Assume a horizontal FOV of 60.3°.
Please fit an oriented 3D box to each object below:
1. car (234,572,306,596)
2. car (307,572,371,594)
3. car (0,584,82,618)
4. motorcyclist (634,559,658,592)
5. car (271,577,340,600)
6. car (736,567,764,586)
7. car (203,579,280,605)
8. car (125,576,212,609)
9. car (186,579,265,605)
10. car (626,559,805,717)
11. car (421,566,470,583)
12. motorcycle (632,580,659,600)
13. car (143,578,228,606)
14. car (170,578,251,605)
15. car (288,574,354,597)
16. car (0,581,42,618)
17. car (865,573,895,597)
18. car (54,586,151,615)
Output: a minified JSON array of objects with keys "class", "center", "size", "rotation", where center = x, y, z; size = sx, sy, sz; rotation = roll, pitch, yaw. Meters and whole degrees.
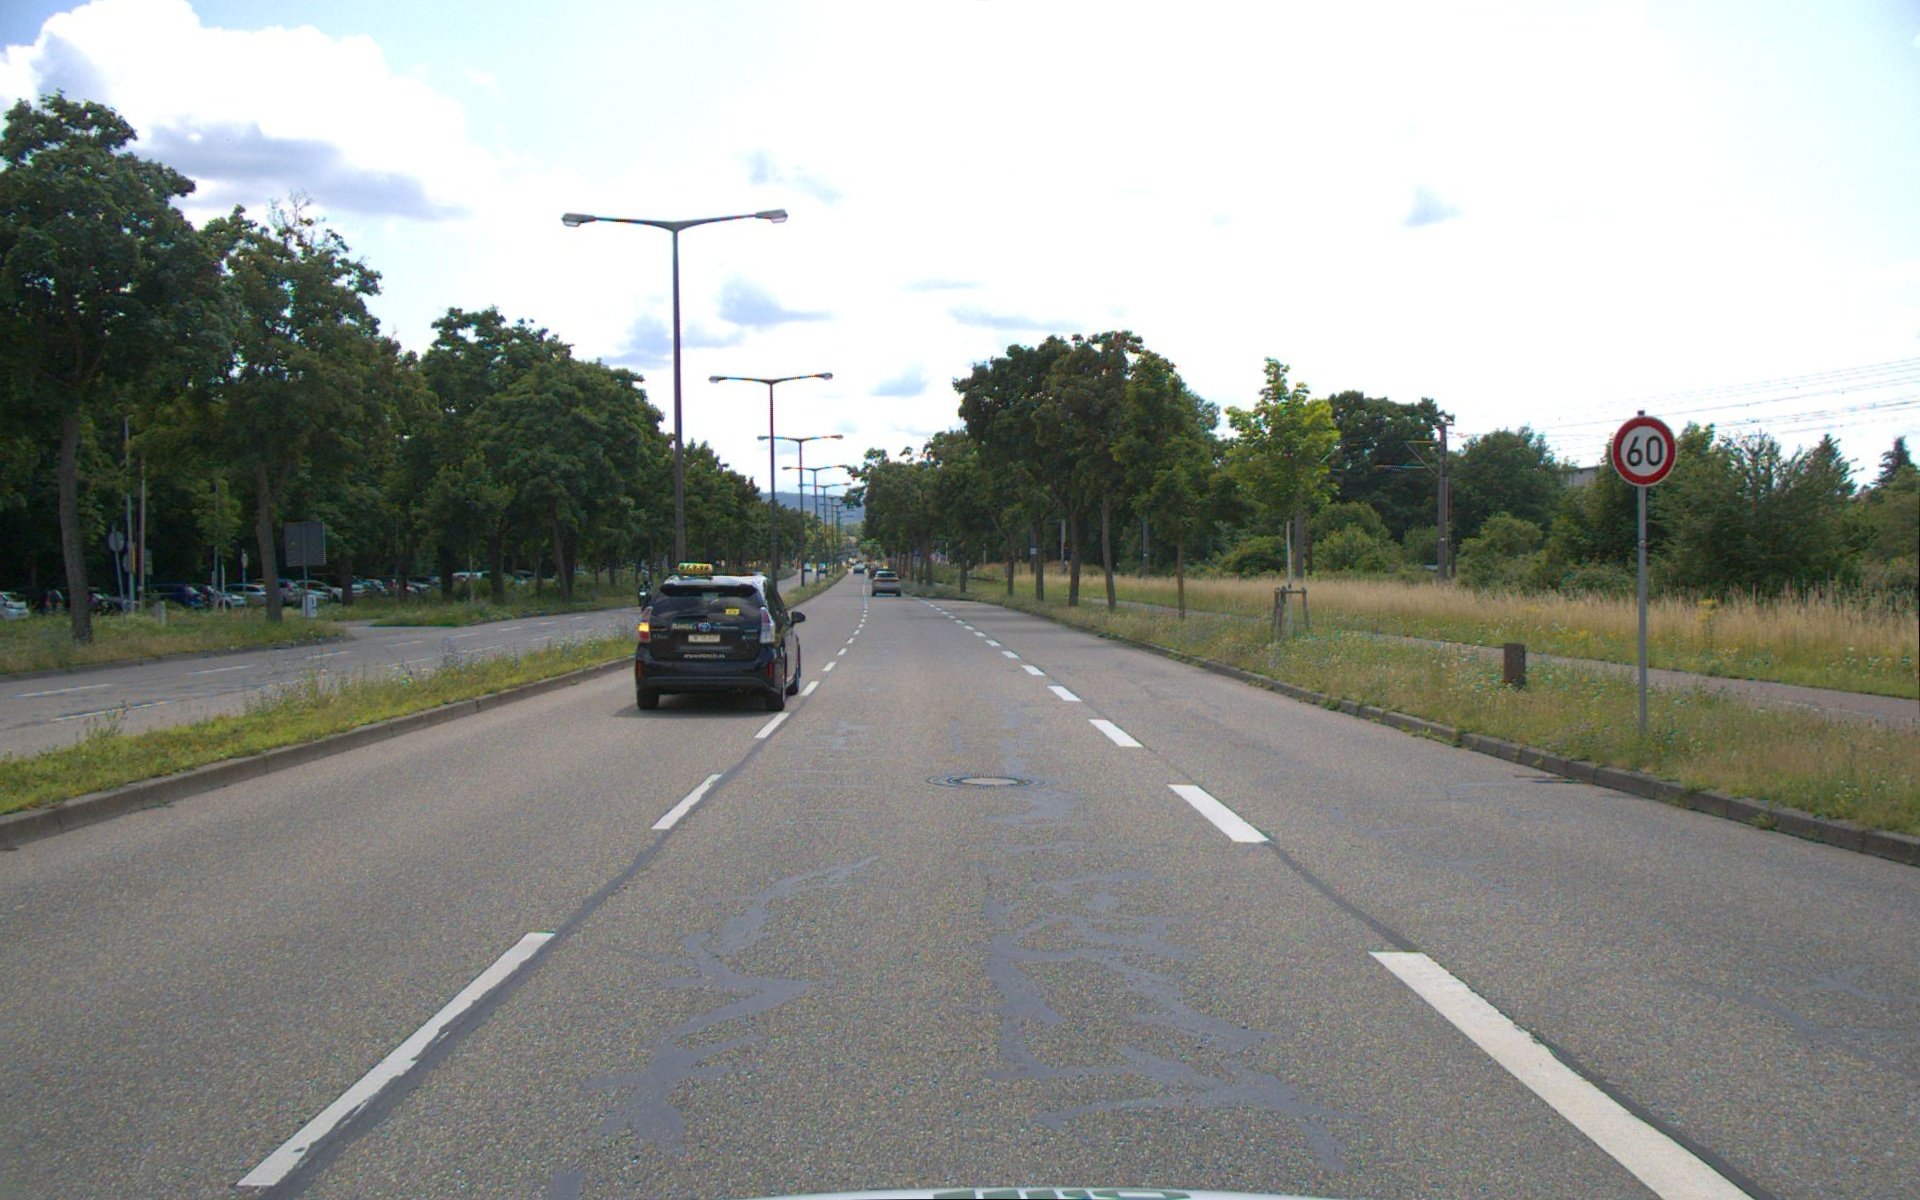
[{"class":"car","center":[-42.638,-0.989,102.256],"size":[3.706,1.412,1.786],"rotation":[1,2,1]},{"class":"car","center":[-42.999,-1.188,114.556],"size":[3.706,1.412,1.786],"rotation":[1,2,1]},{"class":"car","center":[-40.662,0.036,72.150],"size":[3.709,1.410,1.785],"rotation":[1,2,-3]},{"class":"motorcyclist","center":[-13.870,-1.082,73.048],"size":[0.810,1.438,1.328],"rotation":[1,2,-2]},{"class":"car","center":[-42.131,-0.761,106.469],"size":[3.706,1.412,1.786],"rotation":[1,2,1]},{"class":"car","center":[-17.935,-1.995,141.622],"size":[1.840,1.534,3.798],"rotation":[1,2,1]},{"class":"car","center":[-42.103,-0.462,96.939],"size":[3.706,1.412,1.786],"rotation":[1,2,1]},{"class":"car","center":[-41.565,-0.403,86.922],"size":[3.706,1.595,1.786],"rotation":[1,2,1]},{"class":"car","center":[-42.005,-0.453,94.567],"size":[3.706,1.412,1.786],"rotation":[1,2,1]},{"class":"car","center":[-2.928,0.381,20.549],"size":[1.743,1.713,3.999],"rotation":[1,2,-2]},{"class":"car","center":[-45.304,-2.290,145.761],"size":[3.706,1.412,1.786],"rotation":[1,2,1]},{"class":"motorcycle","center":[-13.888,-0.454,73.105],"size":[0.736,0.785,2.671],"rotation":[1,2,-2]},{"class":"car","center":[-41.888,-0.433,89.509],"size":[3.706,1.412,1.786],"rotation":[1,2,1]},{"class":"car","center":[-41.890,-0.476,92.470],"size":[3.706,1.412,1.786],"rotation":[1,2,1]},{"class":"car","center":[-42.812,-0.965,110.842],"size":[3.706,1.412,1.786],"rotation":[1,2,1]},{"class":"car","center":[-40.704,-0.034,69.094],"size":[3.709,1.453,1.785],"rotation":[1,2,-3]},{"class":"car","center":[-5.405,-1.037,111.565],"size":[1.954,1.534,3.998],"rotation":[1,2,-4]},{"class":"car","center":[-41.108,0.012,79.381],"size":[3.709,1.269,1.785],"rotation":[1,2,-3]}]
